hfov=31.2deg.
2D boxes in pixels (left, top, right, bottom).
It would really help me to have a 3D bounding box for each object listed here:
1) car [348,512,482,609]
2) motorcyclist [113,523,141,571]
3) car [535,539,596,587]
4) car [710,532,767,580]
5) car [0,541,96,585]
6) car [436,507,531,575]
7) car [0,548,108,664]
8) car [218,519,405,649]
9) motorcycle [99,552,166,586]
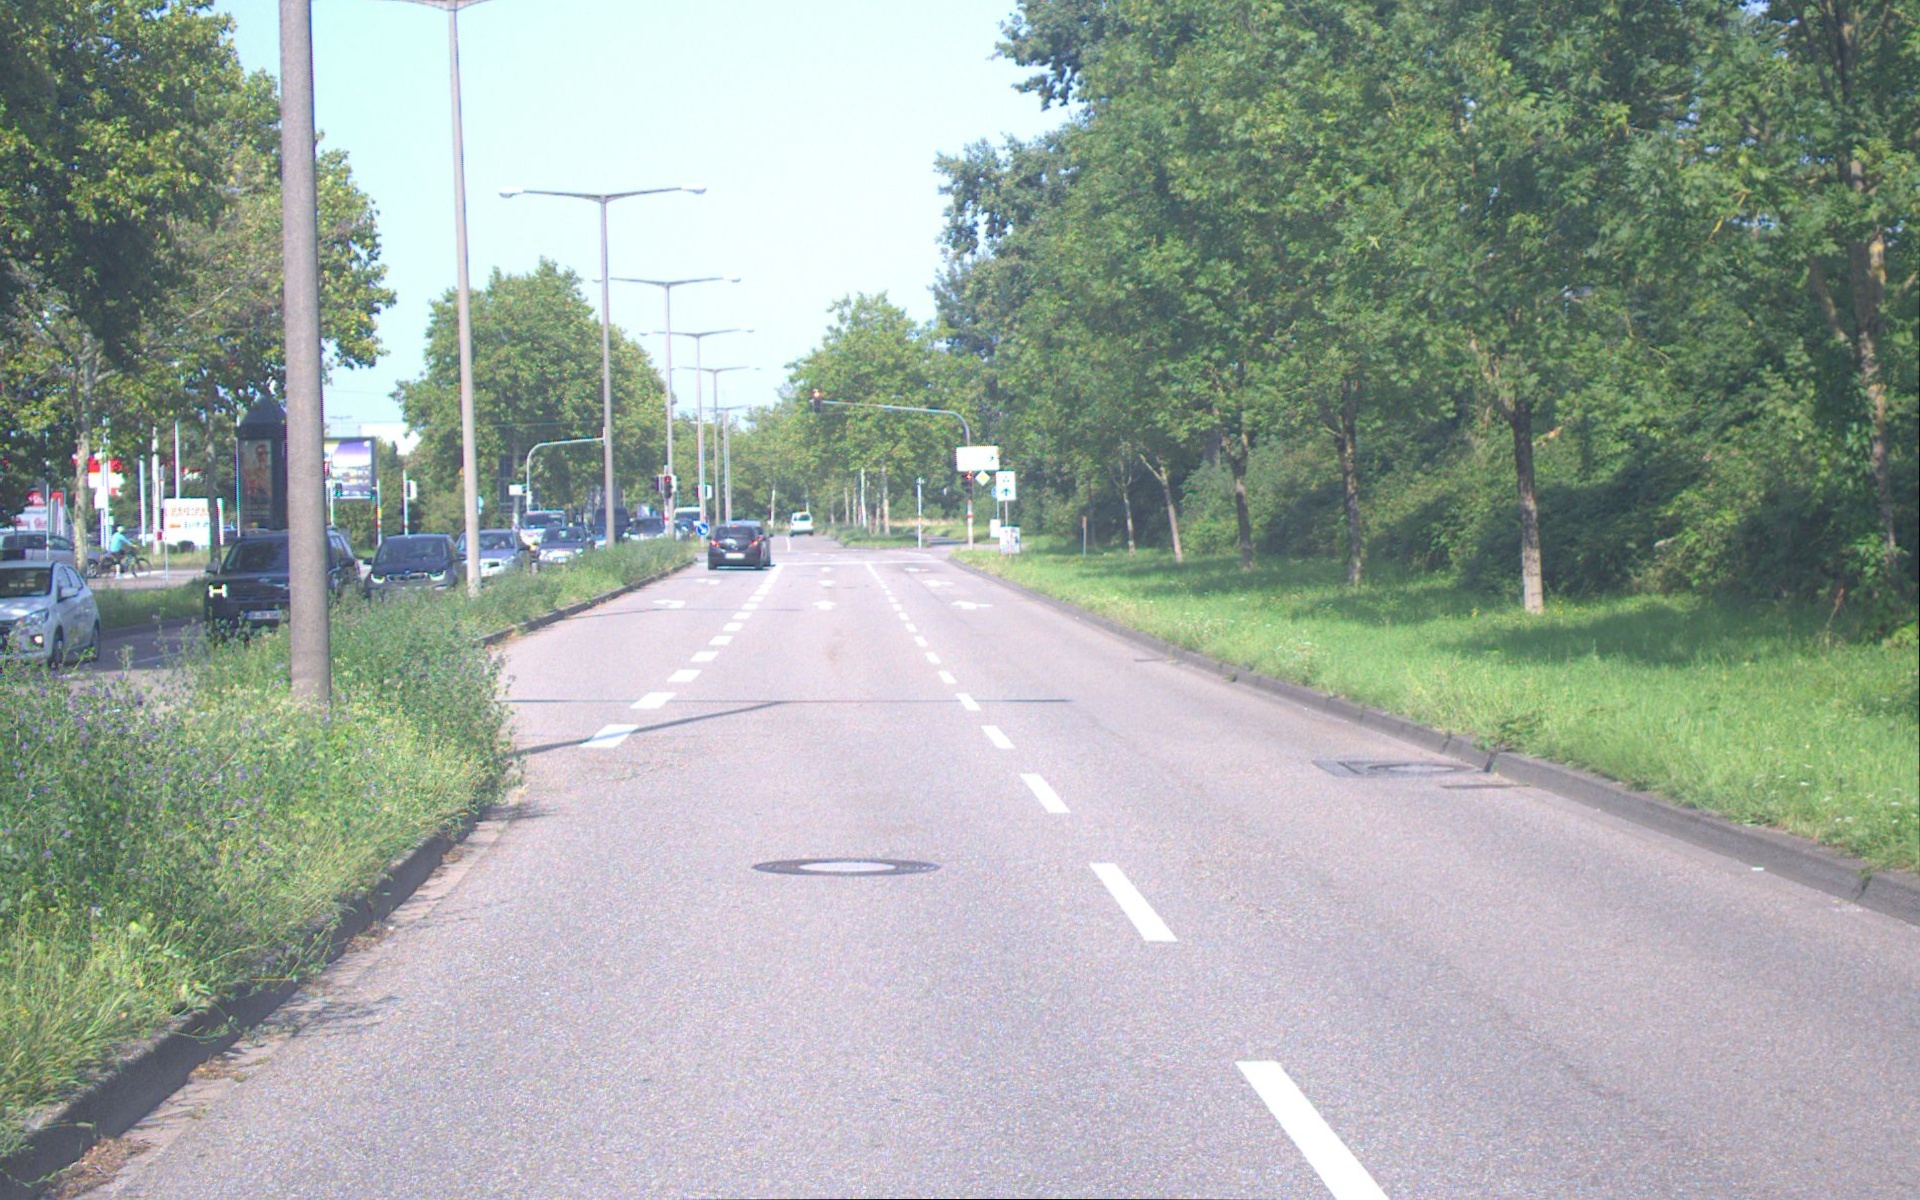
[{"bbox_3d":[-10.659,-0.789,67.513,1.993,1.753,4.308,-3,1,-2],"label":"car"},{"bbox_3d":[-27.794,-1.767,114.716,0.682,1.566,0.683,-1,1,-38],"label":"motorcyclist"},{"bbox_3d":[-12.426,-1.187,108.371,1.676,1.481,3.493,0,1,-3],"label":"car"},{"bbox_3d":[-7.035,-1.415,109.409,1.692,1.480,4.001,-1,1,-2],"label":"car"},{"bbox_3d":[-31.212,-1.260,116.072,3.691,1.438,1.466,-1,1,-38],"label":"car"},{"bbox_3d":[-11.599,-1.435,83.920,1.879,1.588,4.109,-1,1,-2],"label":"car"},{"bbox_3d":[-12.934,0.062,46.912,1.790,1.477,4.001,-1,1,-3],"label":"car"},{"bbox_3d":[-9.612,-0.272,51.303,1.993,1.753,4.478,-3,1,-2],"label":"car"},{"bbox_3d":[-27.647,-1.038,114.837,2.070,1.132,0.677,-1,1,-37],"label":"motorcycle"}]
